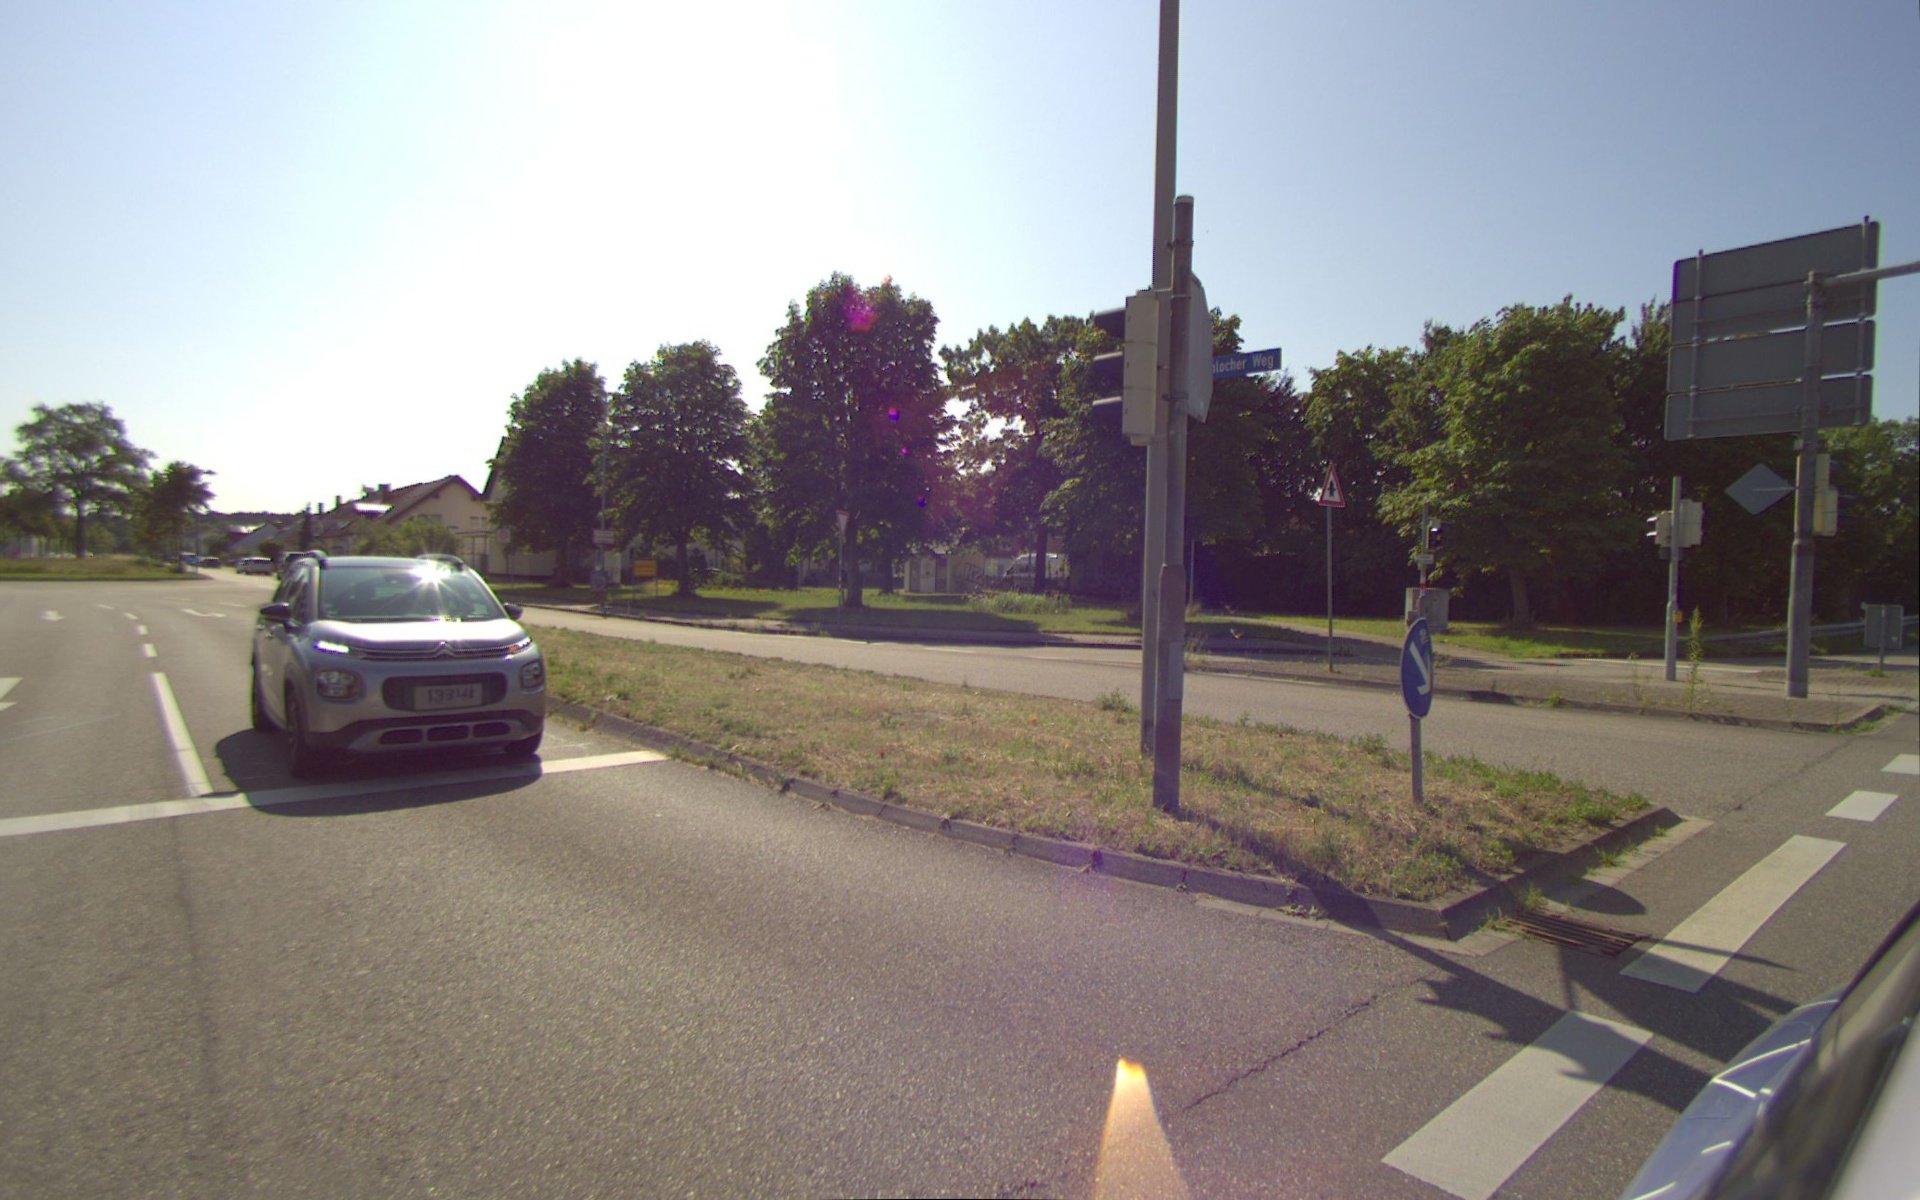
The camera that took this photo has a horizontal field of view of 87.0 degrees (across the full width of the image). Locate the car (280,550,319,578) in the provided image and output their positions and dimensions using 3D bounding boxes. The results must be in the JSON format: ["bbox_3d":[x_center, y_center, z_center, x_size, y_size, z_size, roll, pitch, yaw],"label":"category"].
[{"bbox_3d":[-44.709,-2.476,68.562,1.960,1.812,4.006,0,2,-29],"label":"car"}]

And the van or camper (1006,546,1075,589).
[{"bbox_3d":[5.630,-2.308,71.214,1.966,2.866,4.806,0,2,-43],"label":"van or camper"}]

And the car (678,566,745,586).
[{"bbox_3d":[-16.276,-1.566,66.370,3.929,1.304,1.731,0,2,-40],"label":"car"}]

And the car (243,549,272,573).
[{"bbox_3d":[-61.785,-3.422,89.028,1.963,1.950,3.998,-1,1,-37],"label":"car"}]

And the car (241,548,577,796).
[{"bbox_3d":[-4.827,0.382,8.560,1.712,1.583,4.060,0,2,-40],"label":"car"}]
